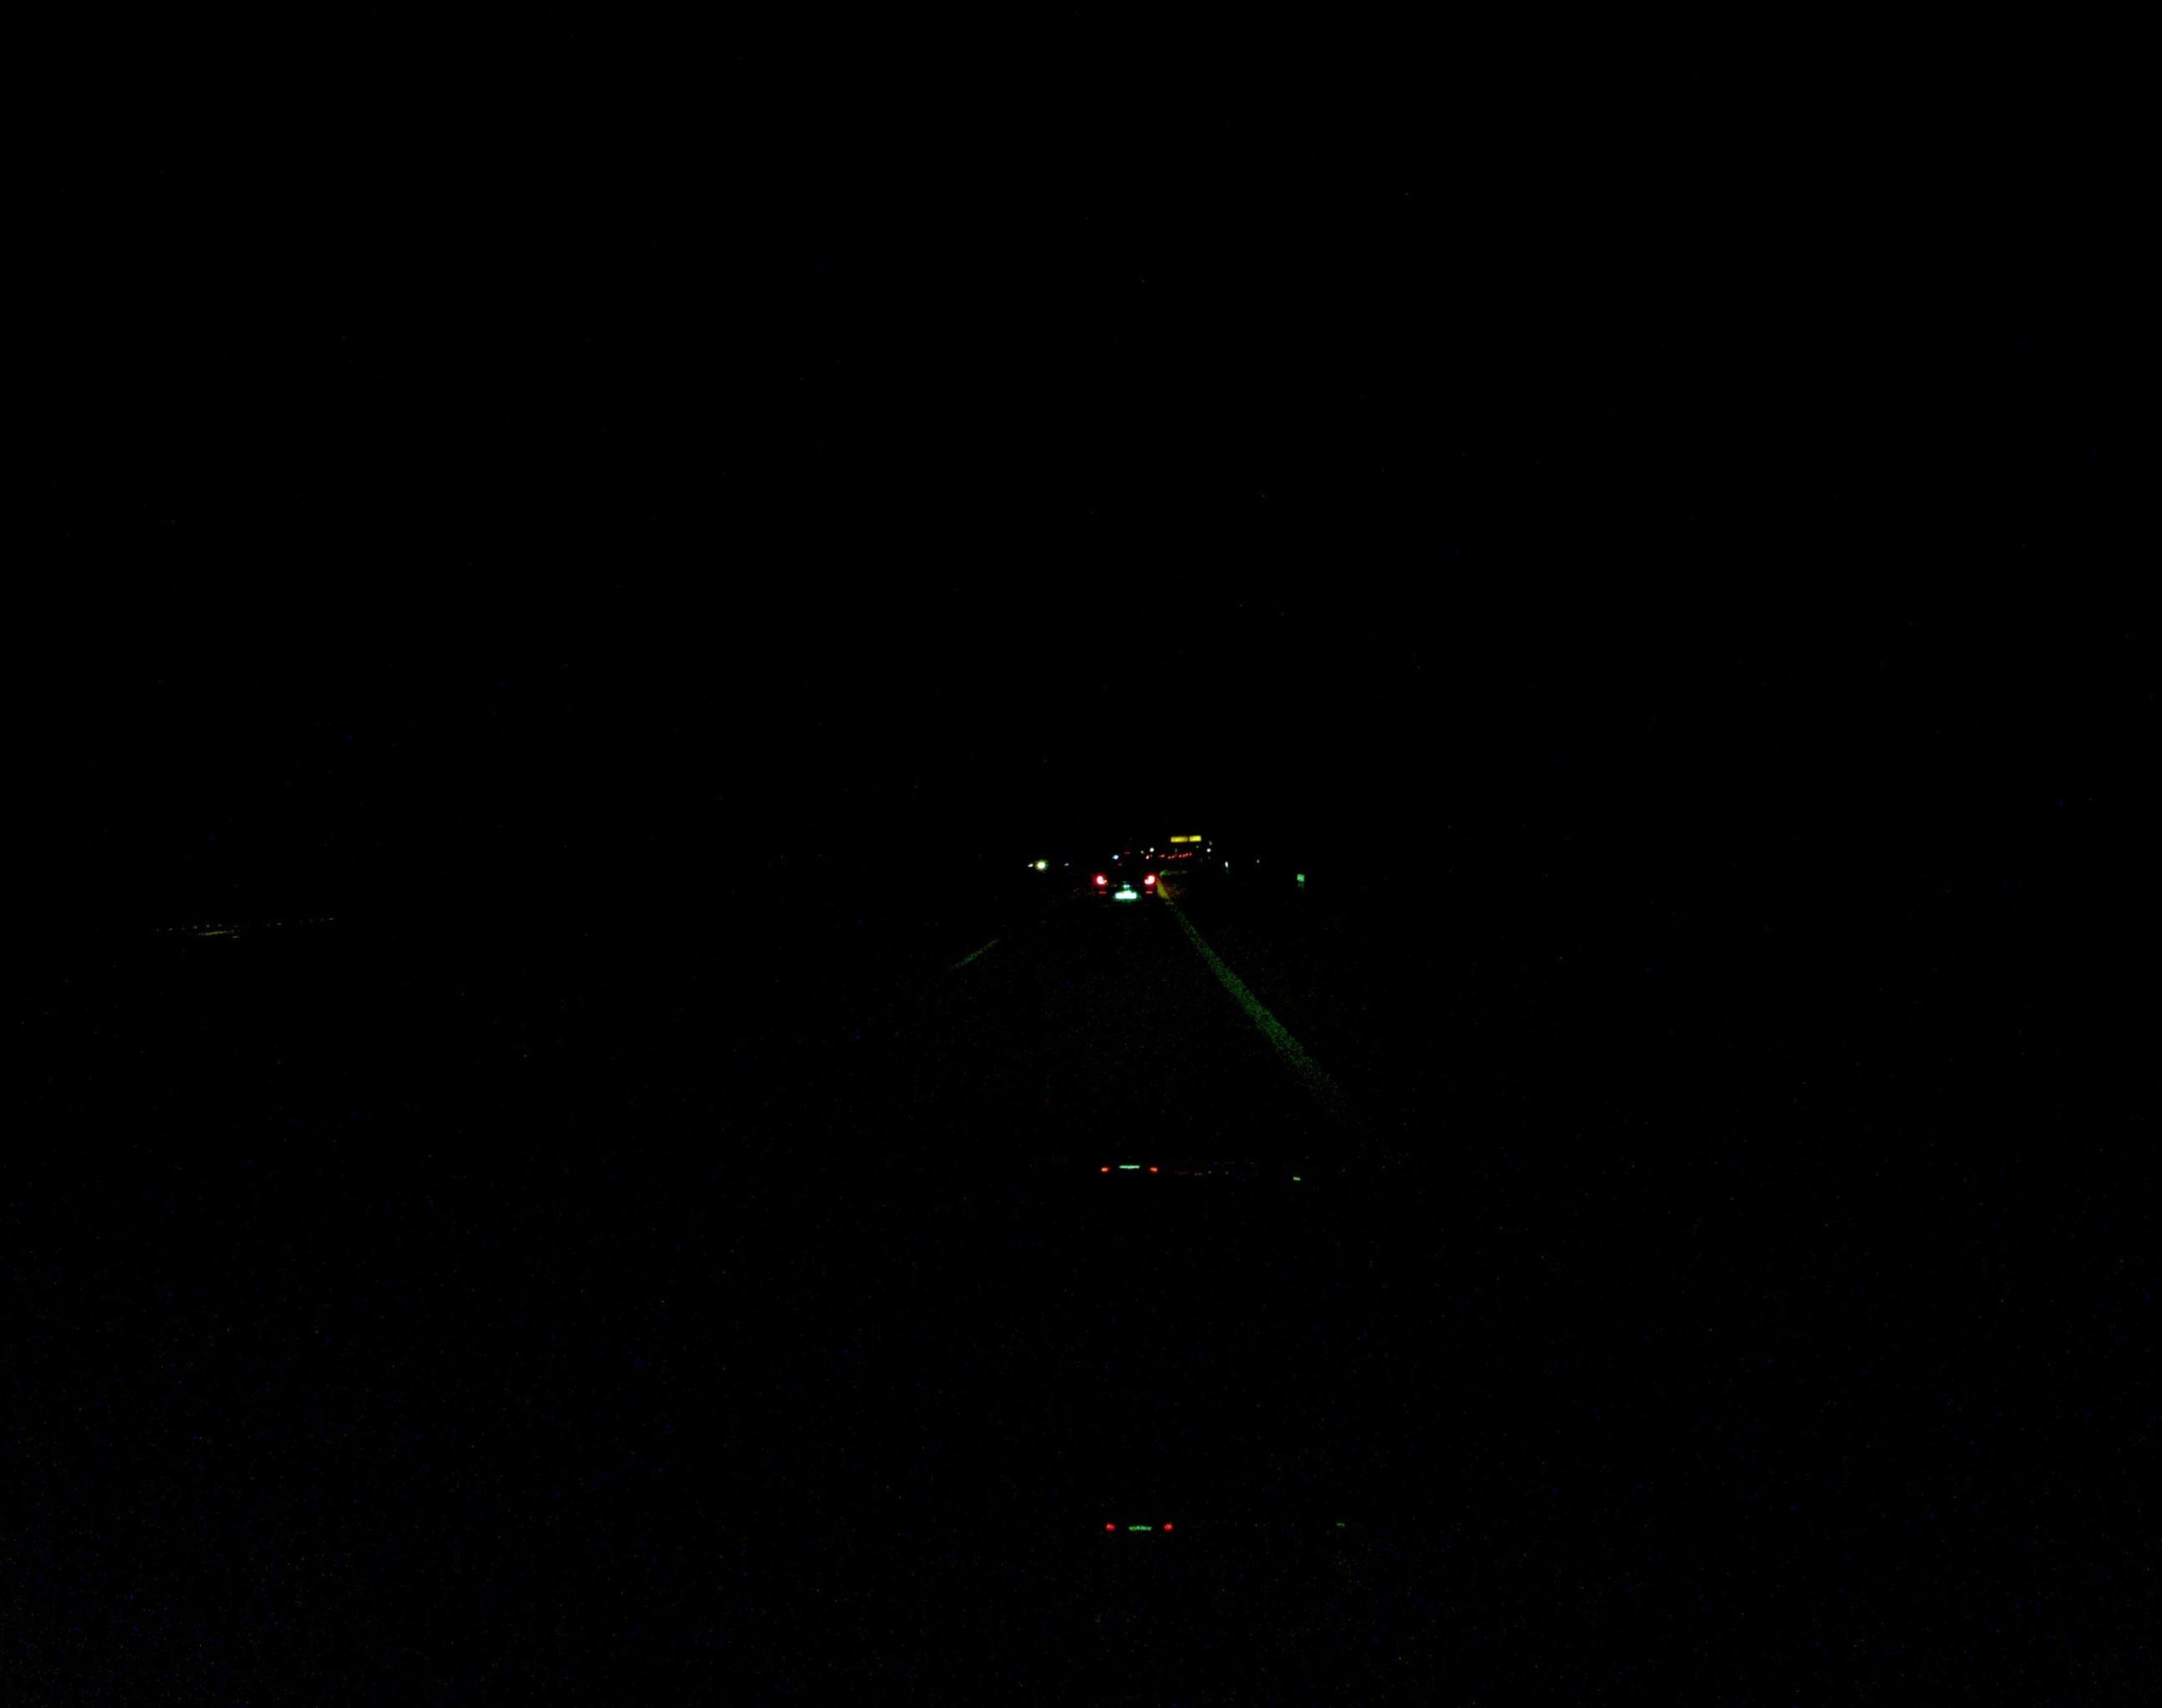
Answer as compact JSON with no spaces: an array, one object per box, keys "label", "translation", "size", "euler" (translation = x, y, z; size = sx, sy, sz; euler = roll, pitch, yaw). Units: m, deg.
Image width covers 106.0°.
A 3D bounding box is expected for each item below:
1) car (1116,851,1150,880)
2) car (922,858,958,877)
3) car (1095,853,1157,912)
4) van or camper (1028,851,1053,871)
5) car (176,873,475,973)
[{"label":"car","translation":[3.413,0.727,52.572],"size":[1.896,1.698,4.008],"euler":[-2,0,7]},{"label":"car","translation":[-12.971,1.225,75.283],"size":[1.810,1.442,4.488],"euler":[-4,0,10]},{"label":"car","translation":[1.197,0.735,22.818],"size":[1.582,1.508,4.001],"euler":[0,0,2]},{"label":"van or camper","translation":[-5.545,0.914,112.261],"size":[2.284,2.617,7.674],"euler":[-3,0,4]},{"label":"car","translation":[-15.321,1.297,16.975],"size":[1.988,1.657,4.532],"euler":[-2,0,-1]}]
